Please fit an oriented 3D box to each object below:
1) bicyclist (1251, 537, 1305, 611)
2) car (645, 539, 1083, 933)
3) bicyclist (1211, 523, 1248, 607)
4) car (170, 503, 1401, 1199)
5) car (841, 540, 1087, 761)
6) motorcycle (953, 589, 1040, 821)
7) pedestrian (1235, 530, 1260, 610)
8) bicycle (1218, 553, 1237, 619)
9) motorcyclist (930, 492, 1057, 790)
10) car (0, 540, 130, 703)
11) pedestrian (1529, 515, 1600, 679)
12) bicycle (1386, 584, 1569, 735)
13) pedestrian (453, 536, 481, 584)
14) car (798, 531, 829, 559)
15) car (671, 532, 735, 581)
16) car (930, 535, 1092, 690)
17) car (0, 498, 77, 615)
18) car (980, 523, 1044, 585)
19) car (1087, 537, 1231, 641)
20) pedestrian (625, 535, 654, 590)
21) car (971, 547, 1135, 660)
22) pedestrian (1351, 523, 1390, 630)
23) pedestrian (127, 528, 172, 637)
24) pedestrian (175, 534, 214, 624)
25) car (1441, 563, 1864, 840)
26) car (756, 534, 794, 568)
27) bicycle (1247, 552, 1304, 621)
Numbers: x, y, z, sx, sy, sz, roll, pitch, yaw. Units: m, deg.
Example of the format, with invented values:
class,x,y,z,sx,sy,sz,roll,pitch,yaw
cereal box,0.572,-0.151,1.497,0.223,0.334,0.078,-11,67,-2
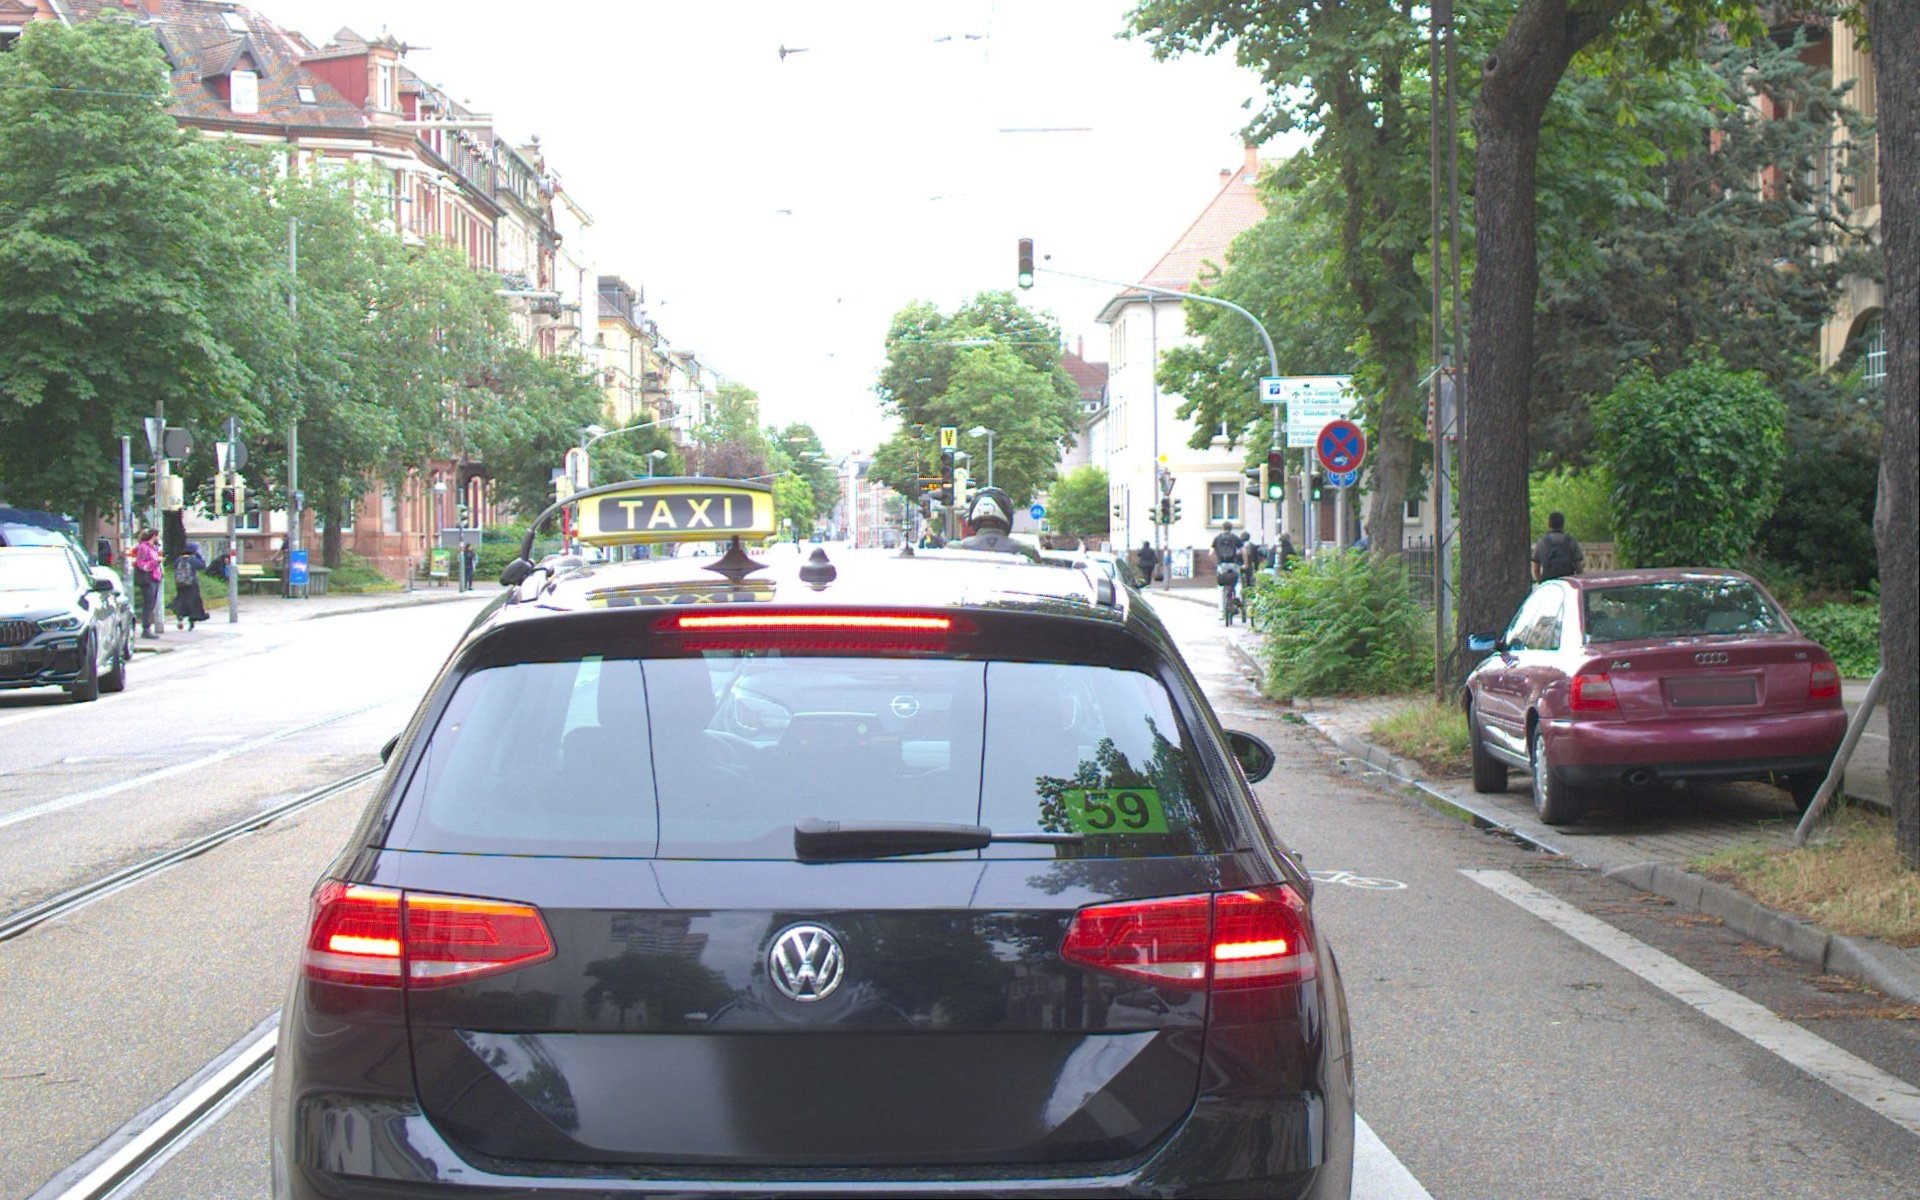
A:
class,x,y,z,sx,sy,sz,roll,pitch,yaw
bicyclist,5.656,-0.462,61.178,0.693,1.297,0.653,-1,1,-37
car,-0.401,0.503,15.546,1.723,1.541,4.000,0,1,-1
bicyclist,5.061,-0.662,64.601,0.651,1.563,0.695,0,1,7
car,-0.266,0.597,6.825,1.723,1.541,4.000,0,1,-1
car,0.004,0.321,26.128,1.723,1.541,4.000,0,1,-1
motorcycle,0.196,0.569,19.663,0.446,1.231,1.907,-1,1,-1
pedestrian,5.620,-0.589,67.153,0.450,1.556,0.479,0,1,7
bicycle,5.022,-0.276,64.532,0.297,1.219,1.430,0,1,7
motorcyclist,0.188,0.226,19.885,0.703,1.686,0.804,-1,1,-1
car,-10.165,0.212,37.167,1.882,1.606,4.889,-3,1,-9
pedestrian,6.764,-0.039,38.471,0.632,1.808,0.726,0,1,-3
bicycle,4.240,0.474,28.080,0.433,1.194,1.899,0,0,45
pedestrian,-15.840,-1.287,110.497,0.589,1.515,0.647,0,1,35
car,-8.490,-3.194,199.516,1.721,1.617,3.864,-1,1,-1
car,-9.689,-1.644,130.031,1.993,1.784,4.000,1,0,1
car,0.502,0.110,36.486,1.606,1.550,3.578,1,0,-1
car,-21.184,-0.932,73.465,2.180,2.409,5.377,-1,1,-43
car,1.744,-1.542,116.141,2.033,2.007,4.000,1,0,-1
car,3.127,-0.187,54.709,1.993,1.572,4.000,1,0,-1
pedestrian,-8.872,-1.031,95.199,0.714,1.515,0.590,0,1,1
car,1.290,0.013,46.004,1.892,1.403,3.999,-1,1,6
pedestrian,7.129,-0.411,59.708,0.514,1.824,0.417,-3,1,16
pedestrian,-13.780,-0.308,58.463,0.623,1.836,0.610,0,1,-3
pedestrian,-14.302,-0.402,64.237,0.589,1.657,0.839,0,1,-4
car,4.032,0.525,20.669,1.602,1.394,4.227,-2,1,-1
car,-9.090,-2.424,169.387,1.721,1.617,3.864,-1,1,-1
bicycle,5.617,-0.244,61.197,1.153,1.192,0.253,-1,1,-38
